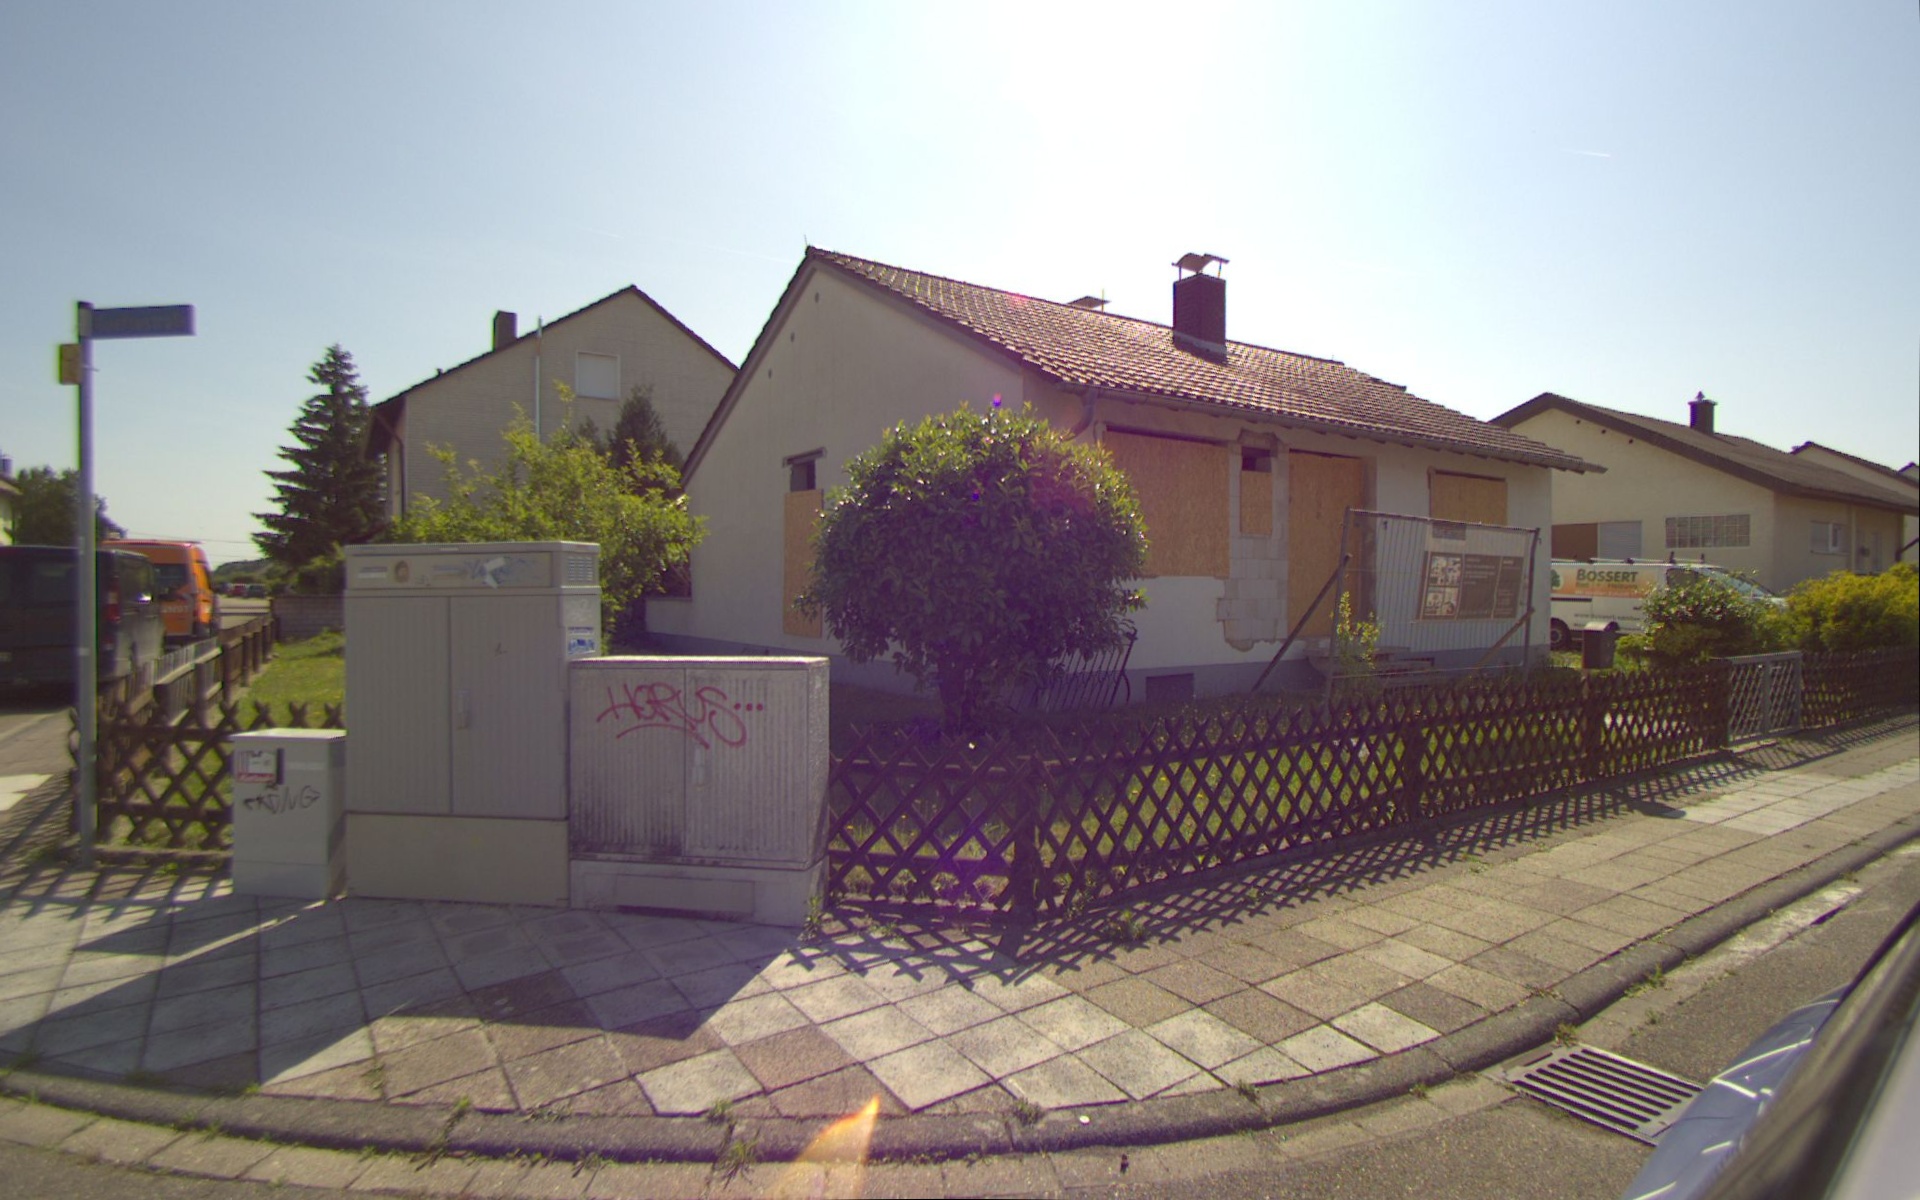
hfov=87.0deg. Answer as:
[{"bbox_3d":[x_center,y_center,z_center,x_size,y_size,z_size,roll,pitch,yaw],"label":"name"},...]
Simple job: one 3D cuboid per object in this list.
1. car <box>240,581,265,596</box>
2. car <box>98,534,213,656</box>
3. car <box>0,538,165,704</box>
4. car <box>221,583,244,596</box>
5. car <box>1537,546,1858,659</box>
[{"bbox_3d":[-69.812,-1.145,99.822,1.680,1.357,3.994,-1,0,-40],"label":"car"},{"bbox_3d":[-17.214,-0.144,21.808,1.526,2.352,4.206,-1,1,-33],"label":"car"},{"bbox_3d":[-12.317,0.213,13.875,1.835,1.962,4.206,-1,1,-33],"label":"car"},{"bbox_3d":[-78.456,-1.151,109.133,1.680,1.357,3.994,-1,0,-40],"label":"car"},{"bbox_3d":[14.936,-0.018,20.847,1.831,2.039,5.016,0,1,-32],"label":"car"}]
